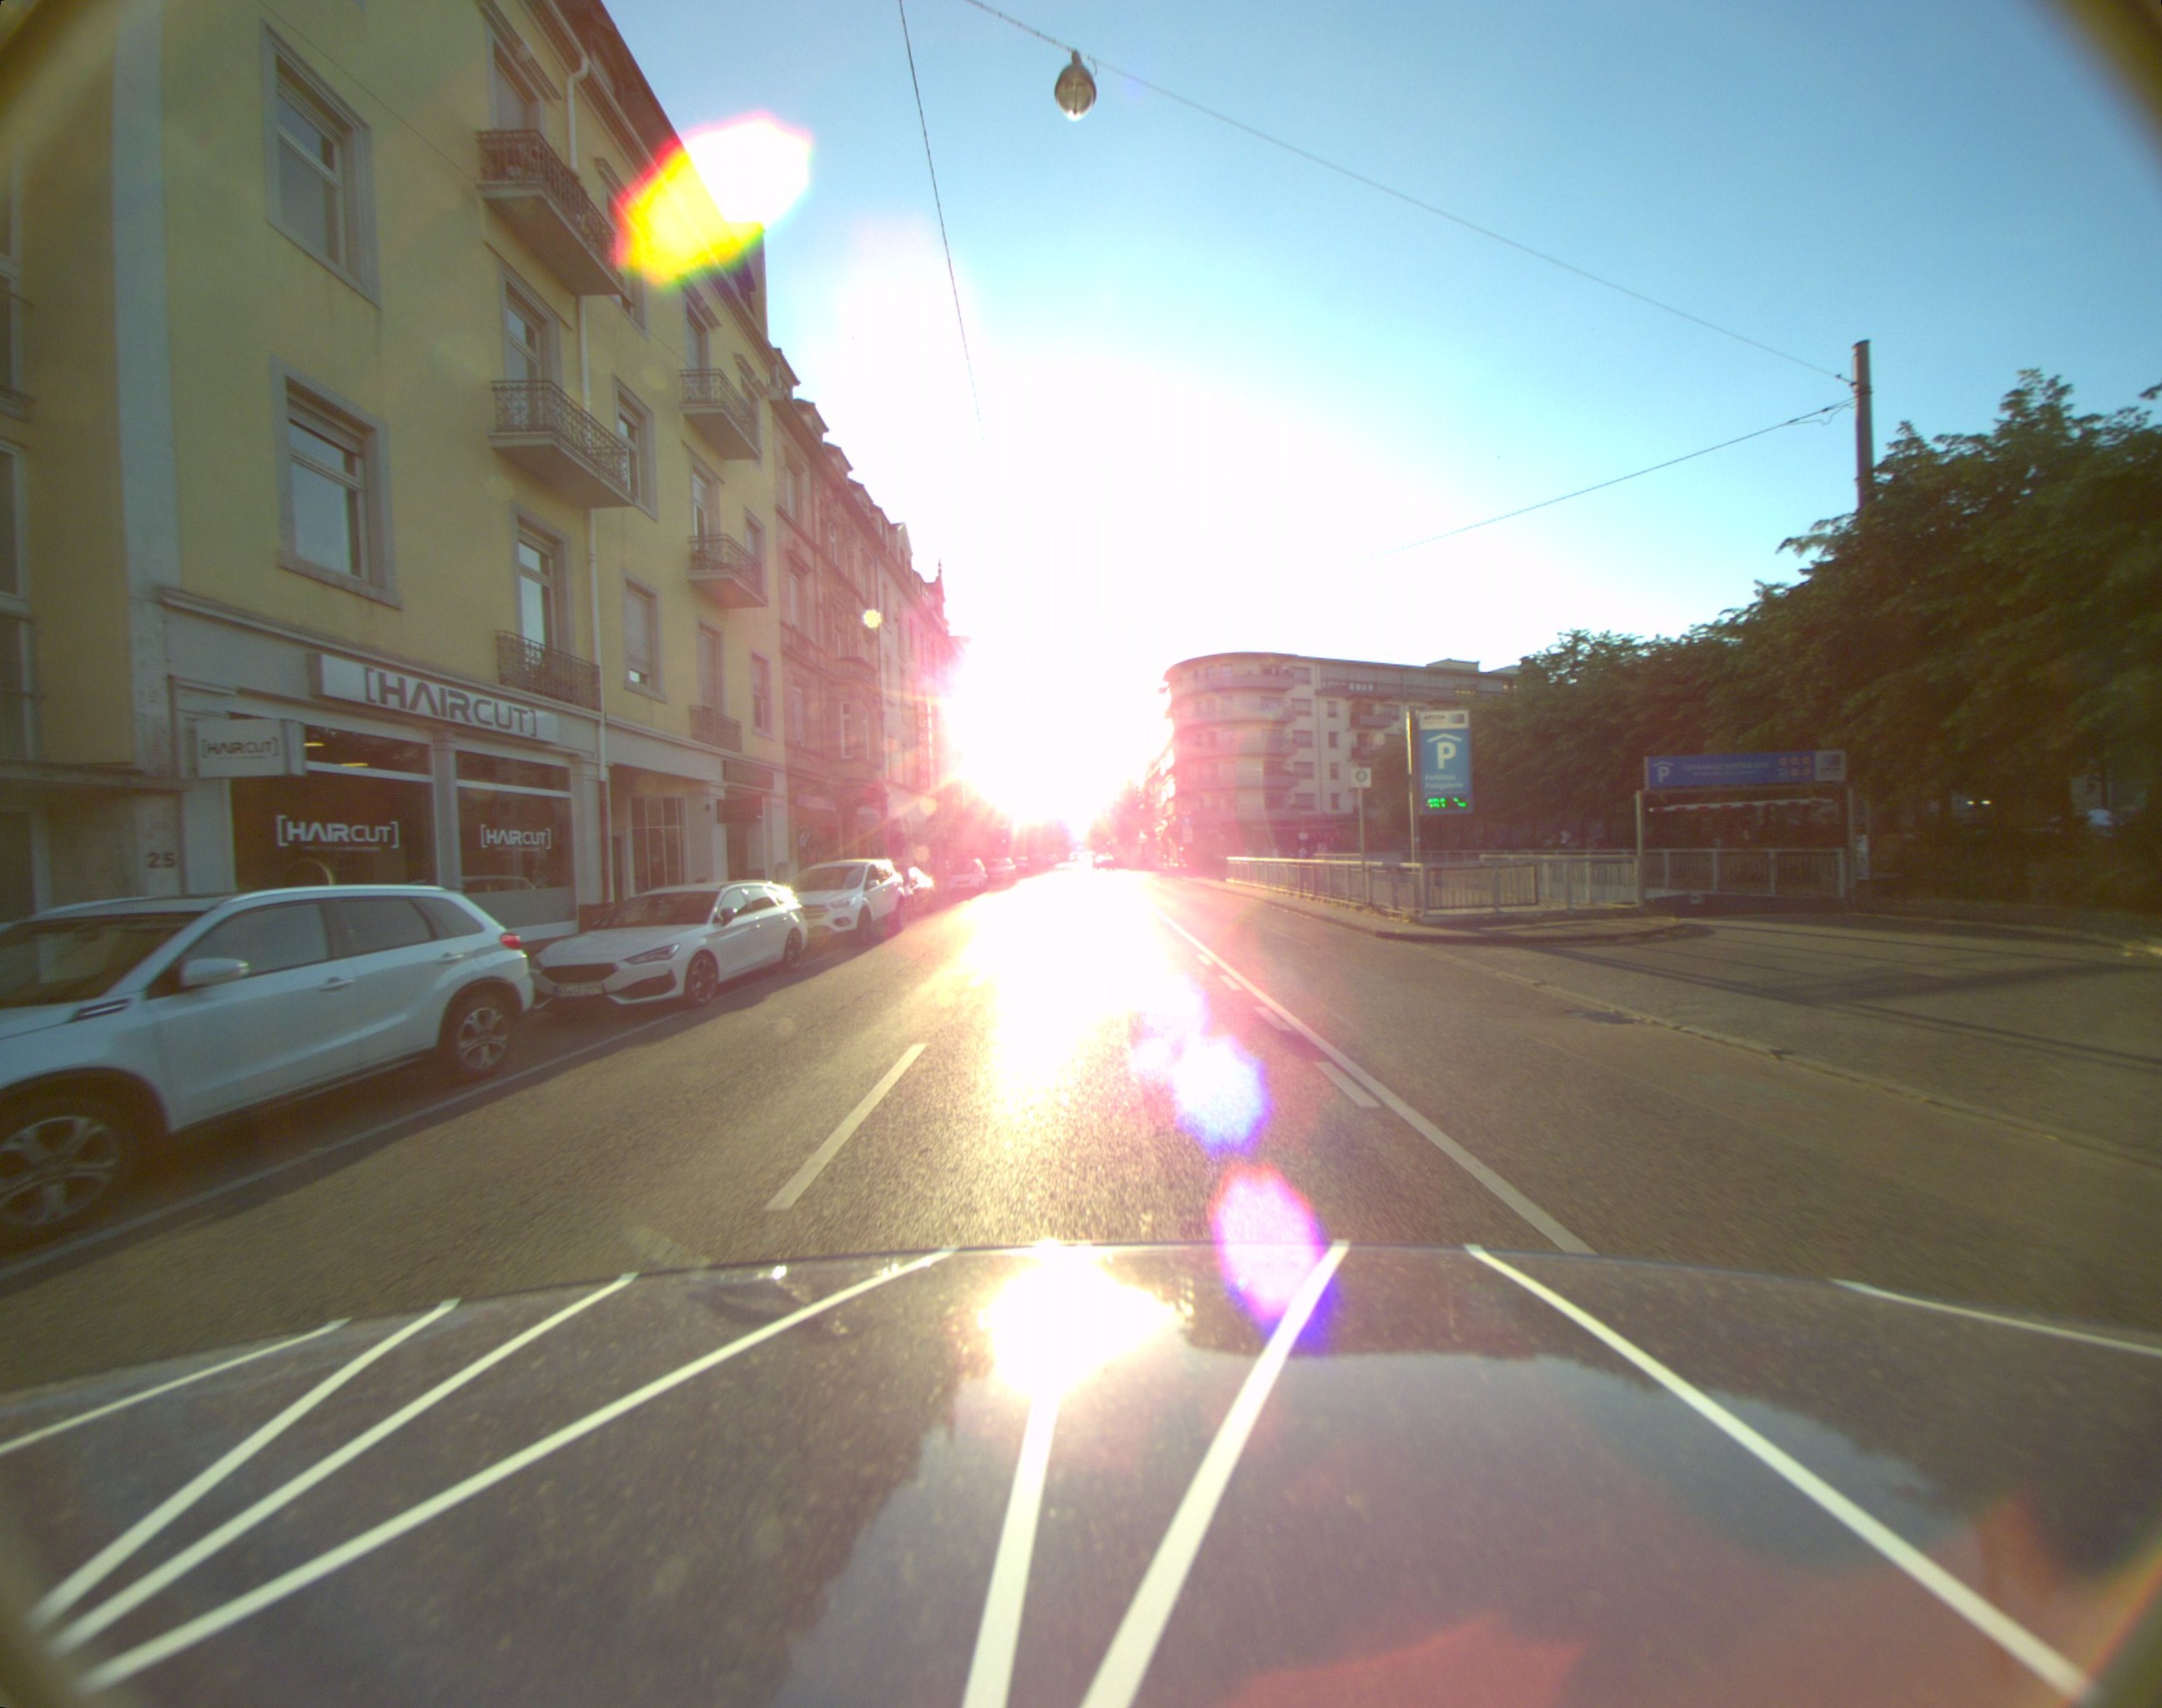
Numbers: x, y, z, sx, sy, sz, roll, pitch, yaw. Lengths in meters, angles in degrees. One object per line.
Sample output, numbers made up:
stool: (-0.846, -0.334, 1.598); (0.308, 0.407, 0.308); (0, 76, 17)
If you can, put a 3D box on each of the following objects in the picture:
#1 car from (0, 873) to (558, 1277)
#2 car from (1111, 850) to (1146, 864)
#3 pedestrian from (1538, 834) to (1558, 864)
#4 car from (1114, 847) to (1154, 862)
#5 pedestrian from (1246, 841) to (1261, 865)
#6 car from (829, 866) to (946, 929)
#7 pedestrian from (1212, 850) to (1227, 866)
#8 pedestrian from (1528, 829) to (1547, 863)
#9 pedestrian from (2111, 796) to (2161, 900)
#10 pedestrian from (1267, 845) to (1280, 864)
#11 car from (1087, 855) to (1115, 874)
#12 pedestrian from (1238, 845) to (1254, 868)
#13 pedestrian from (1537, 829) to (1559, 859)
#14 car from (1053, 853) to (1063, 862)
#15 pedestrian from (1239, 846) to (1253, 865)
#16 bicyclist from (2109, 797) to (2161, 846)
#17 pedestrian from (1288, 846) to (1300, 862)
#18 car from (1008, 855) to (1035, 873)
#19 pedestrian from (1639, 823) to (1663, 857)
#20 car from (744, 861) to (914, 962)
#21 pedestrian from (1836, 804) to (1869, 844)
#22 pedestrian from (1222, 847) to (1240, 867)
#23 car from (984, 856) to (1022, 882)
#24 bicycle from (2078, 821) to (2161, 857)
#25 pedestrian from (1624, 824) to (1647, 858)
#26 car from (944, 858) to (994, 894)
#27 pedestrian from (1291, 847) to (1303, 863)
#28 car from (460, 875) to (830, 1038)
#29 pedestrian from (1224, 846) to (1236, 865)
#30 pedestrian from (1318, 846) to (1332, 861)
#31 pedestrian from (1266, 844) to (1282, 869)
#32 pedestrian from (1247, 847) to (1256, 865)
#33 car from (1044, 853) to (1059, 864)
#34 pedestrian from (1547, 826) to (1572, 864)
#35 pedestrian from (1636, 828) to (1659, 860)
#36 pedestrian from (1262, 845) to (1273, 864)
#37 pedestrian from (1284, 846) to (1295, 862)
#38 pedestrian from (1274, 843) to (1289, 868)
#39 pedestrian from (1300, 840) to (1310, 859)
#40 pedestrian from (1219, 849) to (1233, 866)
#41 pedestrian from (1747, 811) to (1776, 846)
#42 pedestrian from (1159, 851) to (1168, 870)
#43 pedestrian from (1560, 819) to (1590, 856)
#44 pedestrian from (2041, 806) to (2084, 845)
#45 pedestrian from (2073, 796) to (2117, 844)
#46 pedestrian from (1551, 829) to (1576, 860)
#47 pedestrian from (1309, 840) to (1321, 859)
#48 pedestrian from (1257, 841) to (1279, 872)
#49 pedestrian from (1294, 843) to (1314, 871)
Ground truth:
car: (-5.726, 1.052, 4.683); (1.872, 1.751, 4.409); (-2, -1, 0)
car: (5.639, 0.355, 90.708); (3.998, 1.412, 1.999); (-2, 0, -3)
pedestrian: (23.474, -0.256, 38.180); (0.714, 1.477, 0.605); (-3, -1, 38)
car: (6.171, 0.024, 88.380); (4.442, 1.532, 1.817); (-2, 0, -1)
pedestrian: (13.476, -0.069, 59.408); (0.737, 1.783, 0.811); (-2, -1, -21)
car: (-5.406, 1.166, 22.003); (1.998, 1.426, 4.850); (-3, 0, 1)
pedestrian: (11.487, 0.306, 63.017); (0.684, 1.274, 0.969); (-1, 3, 42)
pedestrian: (23.951, -0.393, 39.847); (0.686, 1.735, 0.717); (-3, -1, 38)
pedestrian: (21.191, -0.143, 14.841); (0.912, 2.002, 0.920); (-2, 1, 24)
pedestrian: (16.245, 0.037, 64.122); (0.760, 1.528, 0.712); (-2, 4, -27)
car: (1.883, 0.950, 70.157); (1.808, 1.400, 4.619); (-2, 2, 12)
pedestrian: (13.129, 0.216, 60.446); (0.870, 1.783, 0.850); (-2, -1, -21)
pedestrian: (28.290, -0.614, 46.036); (0.798, 1.771, 0.761); (-3, 1, -22)
car: (-4.235, 0.713, 140.675); (1.756, 1.543, 4.286); (-2, 0, 0)
pedestrian: (13.639, 0.116, 62.895); (0.854, 1.528, 0.713); (-2, 5, -22)
bicyclist: (33.903, -1.039, 24.328); (0.751, 1.501, 1.384); (-2, 1, 34)
pedestrian: (18.604, -0.013, 66.348); (0.603, 1.413, 0.713); (-2, -1, -24)
car: (-5.312, 0.848, 68.335); (1.998, 1.511, 4.000); (-1, 0, 1)
pedestrian: (27.195, -0.661, 36.236); (0.679, 1.533, 0.593); (-3, 0, 13)
car: (-5.023, 1.068, 15.931); (1.886, 1.734, 4.660); (-2, -1, 1)
pedestrian: (34.000, -1.312, 33.499); (0.922, 1.716, 0.701); (-2, 0, -25)
pedestrian: (12.463, 0.253, 63.110); (0.690, 1.526, 0.714); (27, -3, -8)
car: (-5.087, 0.989, 49.908); (1.999, 1.526, 4.682); (-2, -1, -1)
bicycle: (33.937, -0.480, 24.282); (2.322, 1.095, 0.953); (-2, 1, 35)
pedestrian: (26.469, -0.601, 36.297); (0.797, 1.572, 0.732); (-3, -1, 35)
car: (-5.329, 1.037, 36.594); (1.704, 1.575, 4.000); (-2, -1, 1)
pedestrian: (18.432, 0.097, 64.900); (0.750, 1.337, 0.654); (-2, 3, -26)
car: (-5.283, 1.123, 10.224); (2.020, 1.534, 4.870); (-2, -1, 1)
pedestrian: (12.587, 0.108, 64.128); (0.712, 1.527, 0.855); (-3, -1, 32)
pedestrian: (21.318, -0.017, 66.386); (0.850, 1.271, 0.715); (-1, 4, 45)
pedestrian: (14.400, 0.201, 56.734); (0.884, 1.792, 0.713); (-2, -1, -25)
pedestrian: (14.506, 0.164, 64.699); (0.647, 1.527, 0.753); (-2, -1, 9)
car: (-4.457, 0.621, 115.442); (1.999, 1.543, 3.999); (-2, 0, 0)
pedestrian: (24.279, -0.447, 38.536); (0.780, 1.864, 0.715); (-2, 0, 6)
pedestrian: (30.603, -0.534, 41.031); (0.804, 1.716, 0.622); (-2, 0, -25)
pedestrian: (15.967, 0.049, 65.023); (0.655, 1.527, 0.674); (-2, 3, -26)
pedestrian: (18.019, -0.005, 65.626); (0.562, 1.426, 0.666); (-2, 2, -26)
pedestrian: (15.090, 0.110, 57.269); (0.712, 1.865, 0.854); (-3, -1, 40)
pedestrian: (20.281, -0.401, 68.764); (0.618, 1.728, 0.611); (-2, 0, -25)
pedestrian: (11.872, 0.260, 62.314); (0.768, 1.374, 0.841); (-1, 2, 41)
pedestrian: (40.833, -1.523, 45.608); (1.067, 2.002, 0.832); (-3, 1, -20)
pedestrian: (8.884, 0.708, 81.743); (0.730, 1.937, 0.740); (-2, 1, -5)
pedestrian: (25.307, -0.822, 38.935); (0.986, 1.842, 0.888); (-2, -1, -30)
pedestrian: (35.903, -1.028, 27.802); (1.269, 1.372, 0.736); (-2, 1, -27)
pedestrian: (36.191, -1.211, 27.113); (1.269, 1.638, 0.707); (-2, 1, -26)
pedestrian: (28.664, -0.577, 45.100); (1.124, 1.808, 0.701); (-2, 0, -25)
pedestrian: (21.261, -0.436, 69.152); (0.669, 1.710, 0.717); (-2, 0, -25)
pedestrian: (11.928, 0.164, 48.399); (0.891, 1.872, 0.983); (-2, -1, -21)
pedestrian: (14.348, 0.204, 48.865); (0.983, 1.783, 0.891); (-3, -1, 26)
